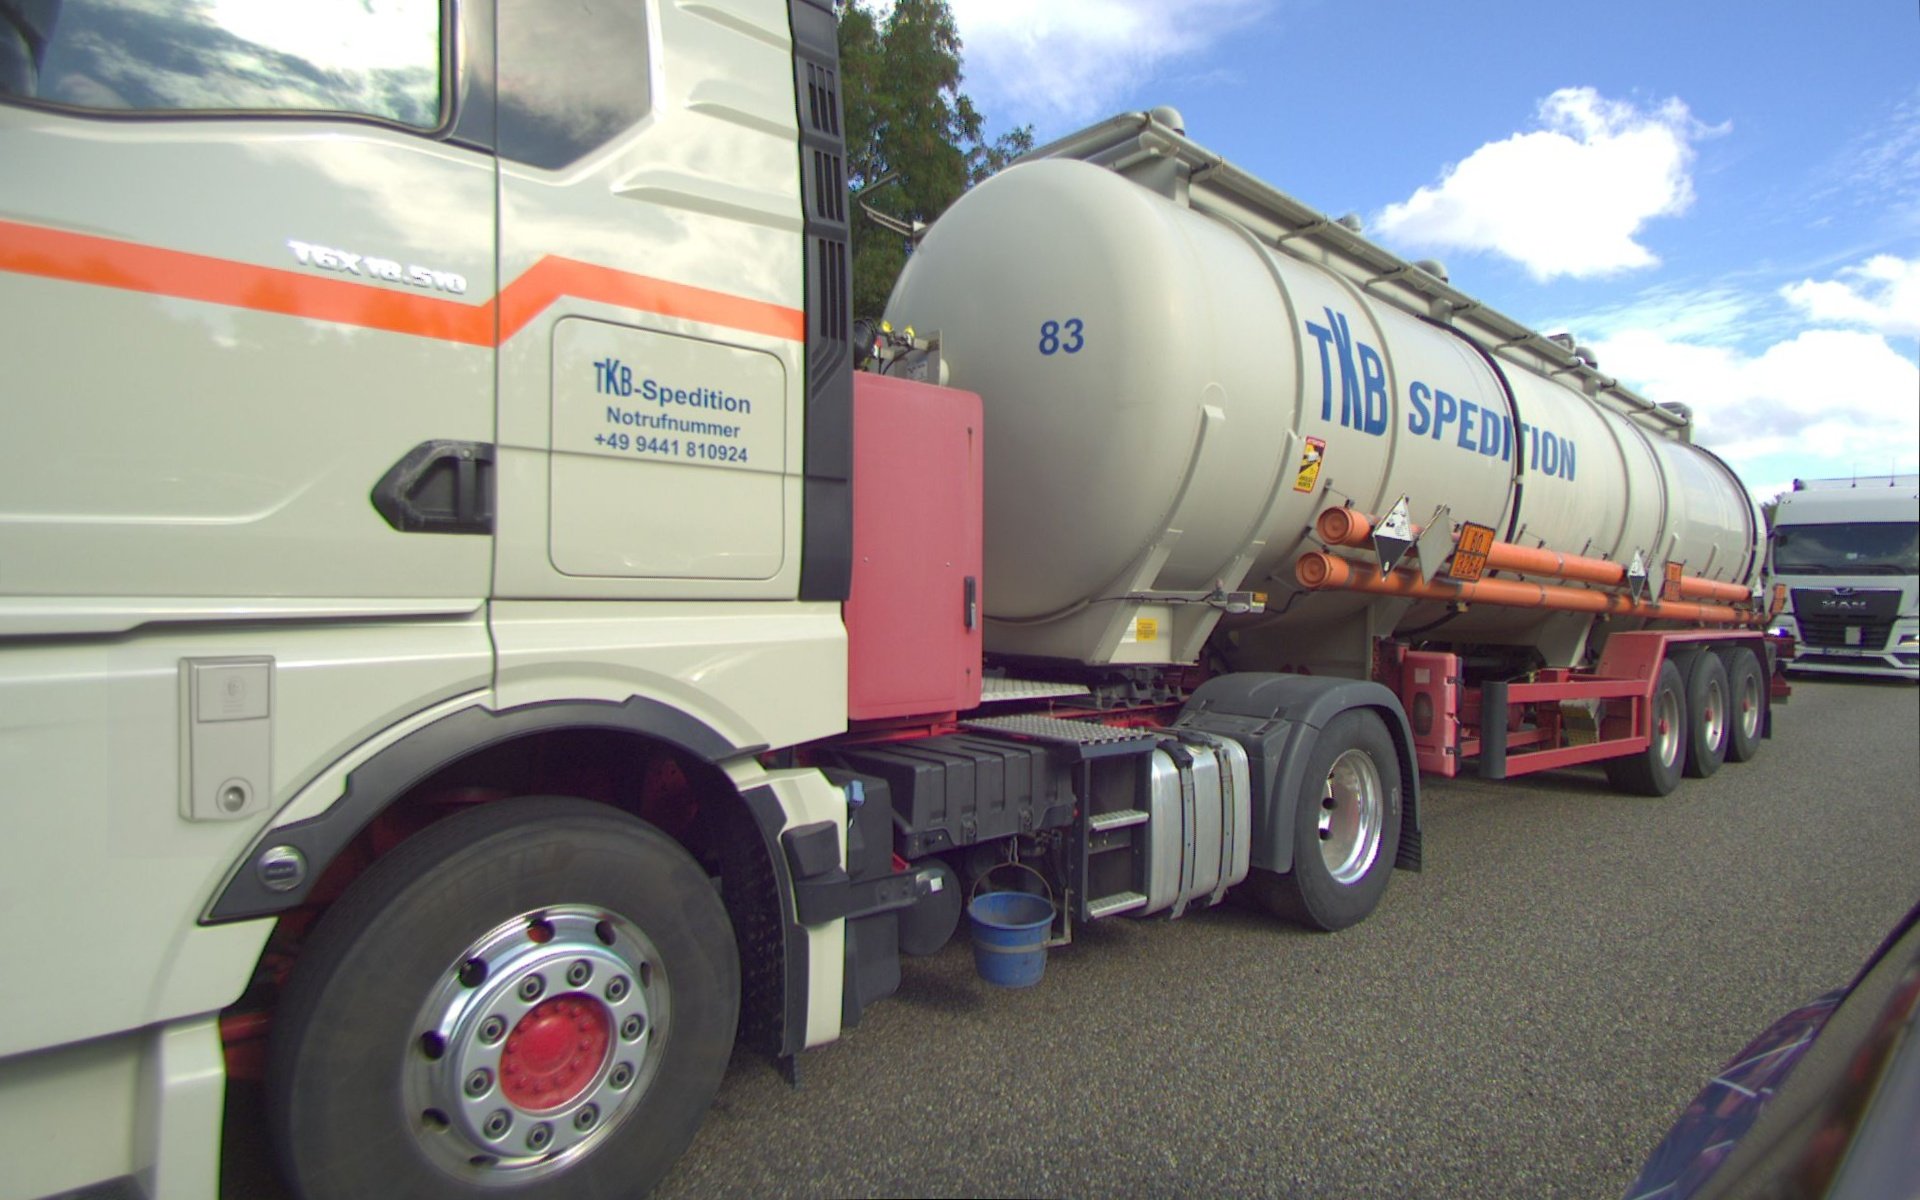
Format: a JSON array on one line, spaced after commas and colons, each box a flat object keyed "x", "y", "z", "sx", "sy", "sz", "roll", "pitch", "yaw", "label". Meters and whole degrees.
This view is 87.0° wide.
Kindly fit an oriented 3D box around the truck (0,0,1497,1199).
[{"x": -0.491, "y": -0.694, "z": 4.105, "sx": 5.800, "sy": 4.094, "sz": 2.808, "roll": 0, "pitch": 0, "yaw": -41, "label": "truck"}]

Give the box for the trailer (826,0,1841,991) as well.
[{"x": 4.304, "y": -0.688, "z": 8.250, "sx": 10.985, "sy": 4.077, "sz": 2.803, "roll": 0, "pitch": 0, "yaw": -41, "label": "trailer"}]

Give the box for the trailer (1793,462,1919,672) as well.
[{"x": 23.515, "y": -0.677, "z": 24.604, "sx": 13.137, "sy": 4.122, "sz": 2.831, "roll": 0, "pitch": 0, "yaw": -41, "label": "trailer"}]

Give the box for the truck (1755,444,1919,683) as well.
[{"x": 18.133, "y": -0.650, "z": 19.956, "sx": 5.607, "sy": 4.123, "sz": 2.839, "roll": 0, "pitch": 0, "yaw": -41, "label": "truck"}]
